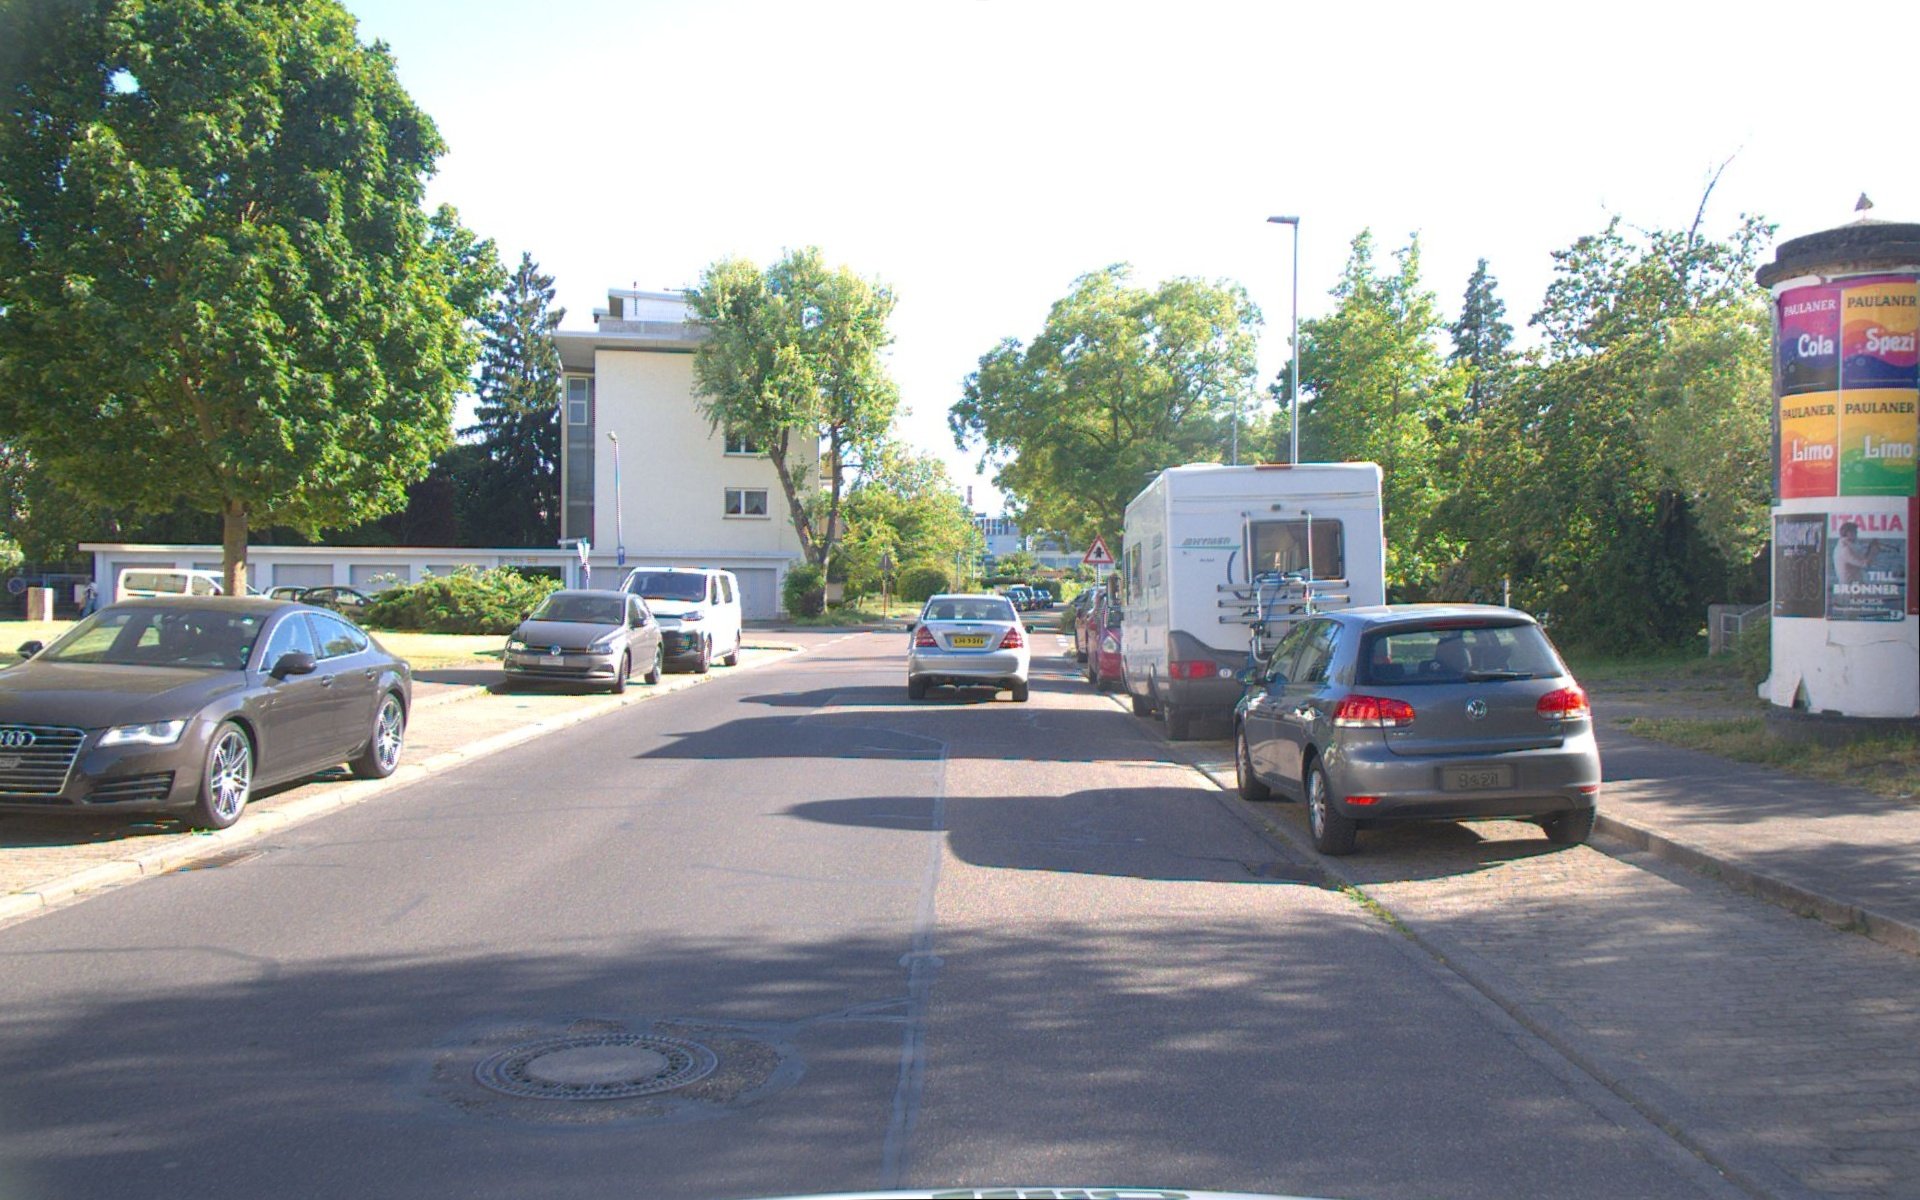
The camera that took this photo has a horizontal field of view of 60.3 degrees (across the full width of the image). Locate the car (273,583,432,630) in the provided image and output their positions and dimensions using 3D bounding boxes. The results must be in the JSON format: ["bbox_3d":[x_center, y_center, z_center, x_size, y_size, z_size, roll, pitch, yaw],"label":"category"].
[{"bbox_3d":[-19.543,0.203,53.290,4.347,1.486,2.045,0,1,7],"label":"car"}]

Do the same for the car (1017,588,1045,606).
[{"bbox_3d":[5.816,-0.259,135.372,1.713,1.353,3.453,-2,0,11],"label":"car"}]

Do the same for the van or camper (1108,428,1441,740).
[{"bbox_3d":[3.242,-0.201,18.864,2.445,2.895,6.851,0,1,0],"label":"van or camper"}]

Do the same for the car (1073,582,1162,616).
[{"bbox_3d":[8.708,-0.058,91.297,4.781,1.753,2.002,-1,0,6],"label":"car"}]

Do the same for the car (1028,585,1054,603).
[{"bbox_3d":[6.933,-0.534,141.805,1.712,1.547,4.197,-1,0,9],"label":"car"}]

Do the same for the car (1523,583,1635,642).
[{"bbox_3d":[18.287,0.346,48.963,2.891,1.590,1.703,0,4,14],"label":"car"}]

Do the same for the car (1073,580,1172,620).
[{"bbox_3d":[8.199,-0.032,83.862,4.785,1.957,1.999,-1,0,-2],"label":"car"}]

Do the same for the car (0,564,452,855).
[{"bbox_3d":[-5.436,0.560,11.681,1.993,1.518,5.256,3,1,0],"label":"car"}]

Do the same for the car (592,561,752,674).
[{"bbox_3d":[-5.381,0.299,31.591,1.973,1.918,5.192,2,0,1],"label":"car"}]

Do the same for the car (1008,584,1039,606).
[{"bbox_3d":[4.952,-0.393,128.795,1.712,1.718,4.268,-1,0,11],"label":"car"}]

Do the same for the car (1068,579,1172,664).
[{"bbox_3d":[3.498,0.426,36.929,1.739,1.709,4.644,-2,1,-1],"label":"car"}]

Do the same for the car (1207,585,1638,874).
[{"bbox_3d":[3.001,0.726,11.757,1.685,1.551,4.428,-3,1,-1],"label":"car"}]

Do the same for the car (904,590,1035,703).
[{"bbox_3d":[0.163,0.614,23.421,1.697,1.459,3.438,1,0,1],"label":"car"}]

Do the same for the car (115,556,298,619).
[{"bbox_3d":[-24.548,-0.410,53.963,4.996,1.985,2.239,0,0,8],"label":"car"}]

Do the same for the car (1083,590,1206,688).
[{"bbox_3d":[3.019,0.588,27.722,1.656,1.500,4.001,0,1,1],"label":"car"}]

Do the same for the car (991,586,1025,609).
[{"bbox_3d":[3.409,-0.198,116.812,1.872,1.516,3.840,-2,0,8],"label":"car"}]

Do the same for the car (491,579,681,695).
[{"bbox_3d":[-5.552,0.509,25.096,1.795,1.544,4.222,2,0,1],"label":"car"}]

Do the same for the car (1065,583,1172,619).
[{"bbox_3d":[7.028,0.036,73.827,4.682,1.576,2.012,0,1,3],"label":"car"}]
